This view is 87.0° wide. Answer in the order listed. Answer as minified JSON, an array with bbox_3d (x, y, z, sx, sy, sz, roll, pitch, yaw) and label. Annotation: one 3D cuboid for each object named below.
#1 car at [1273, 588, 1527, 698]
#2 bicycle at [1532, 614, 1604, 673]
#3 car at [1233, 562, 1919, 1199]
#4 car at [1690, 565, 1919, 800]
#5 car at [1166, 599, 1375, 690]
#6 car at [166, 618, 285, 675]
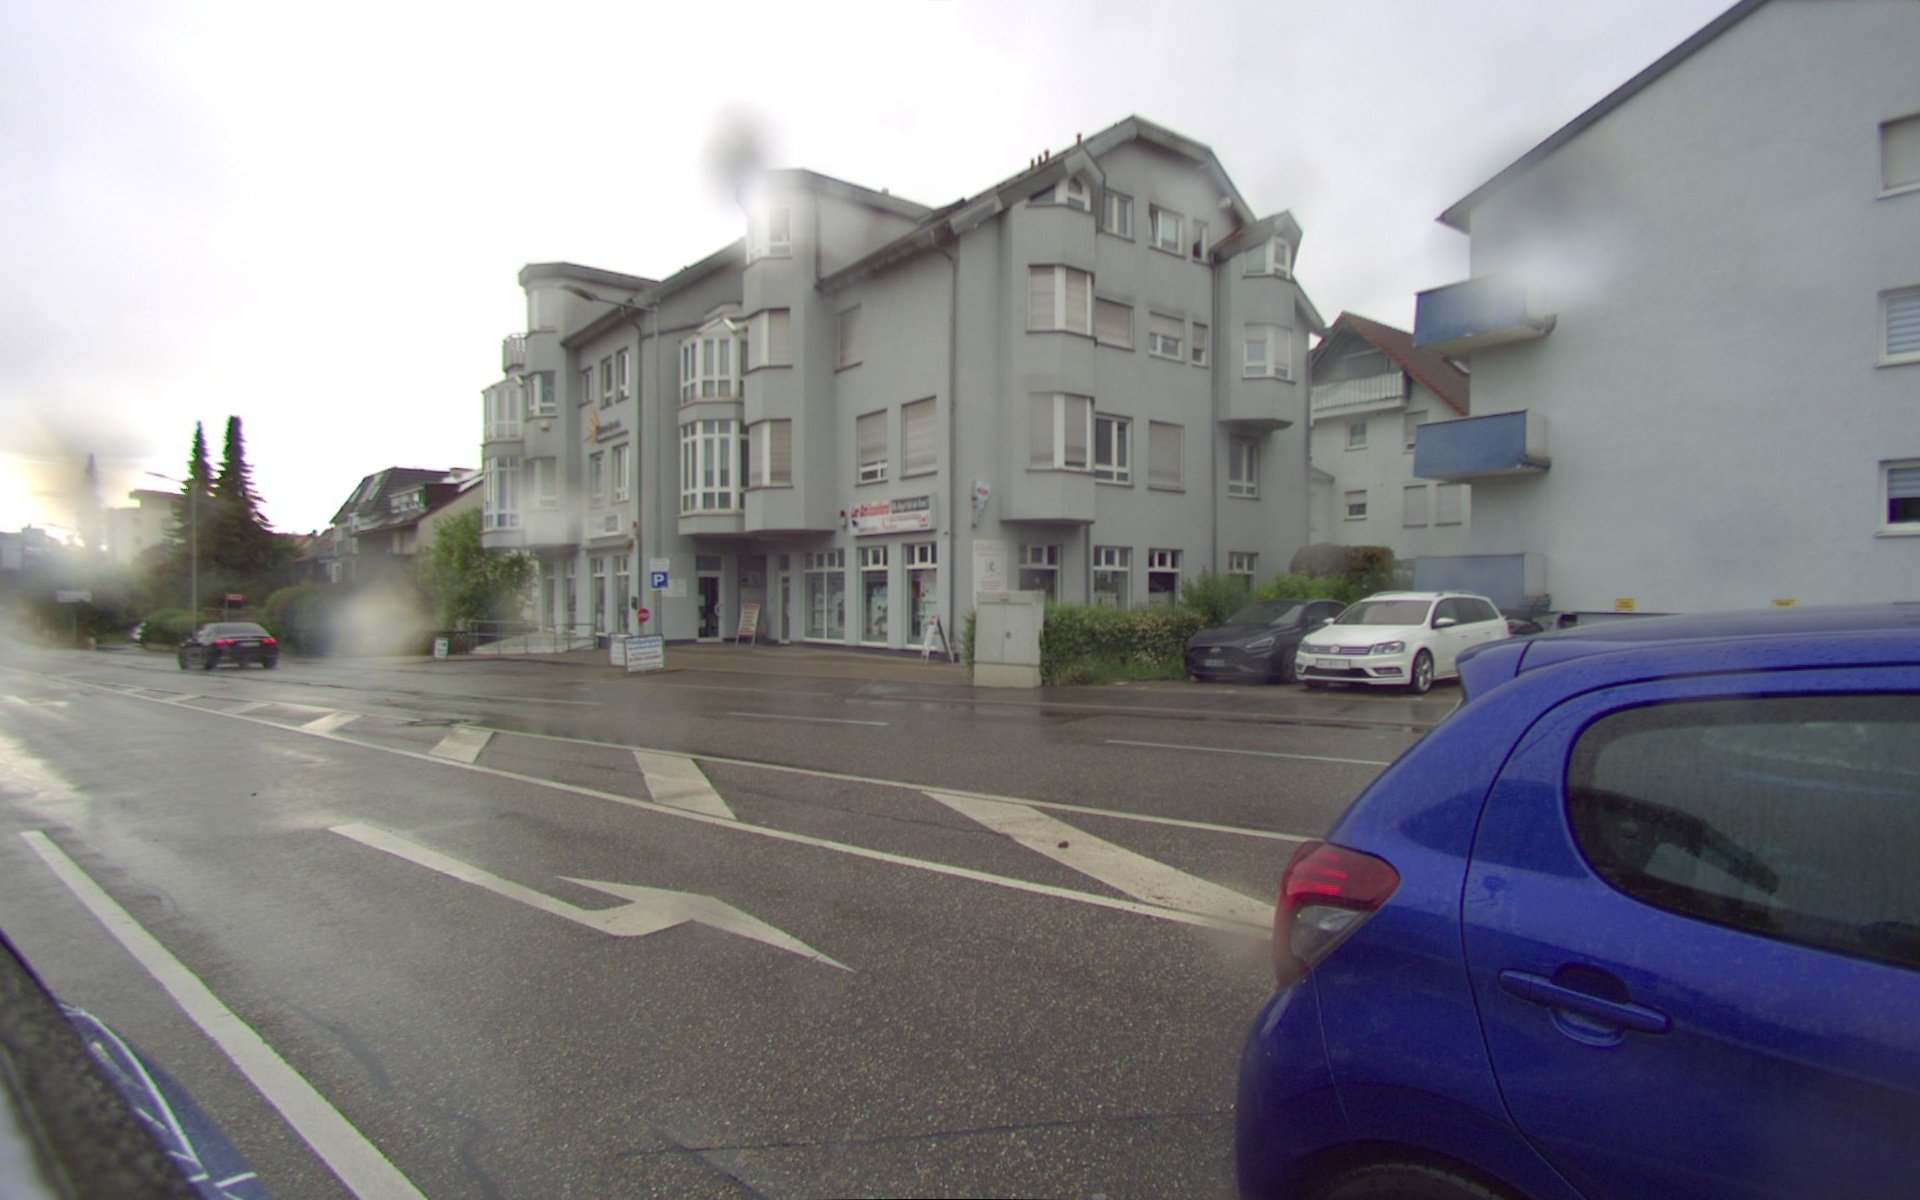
[{"bbox_3d":[6.980,0.607,15.805,4.685,1.471,1.883,0,-2,-42],"label":"car"},{"bbox_3d":[11.142,0.795,18.561,1.065,1.061,0.343,-2,-1,41],"label":"bicycle"},{"bbox_3d":[2.234,0.637,1.197,3.362,1.423,1.489,-2,-1,41],"label":"car"},{"bbox_3d":[7.436,0.521,6.865,3.993,1.523,1.949,-1,0,37],"label":"car"},{"bbox_3d":[5.491,0.692,17.650,1.851,1.366,3.941,-1,0,45],"label":"car"},{"bbox_3d":[-23.313,1.406,32.067,4.534,1.637,1.974,-1,0,39],"label":"car"}]
